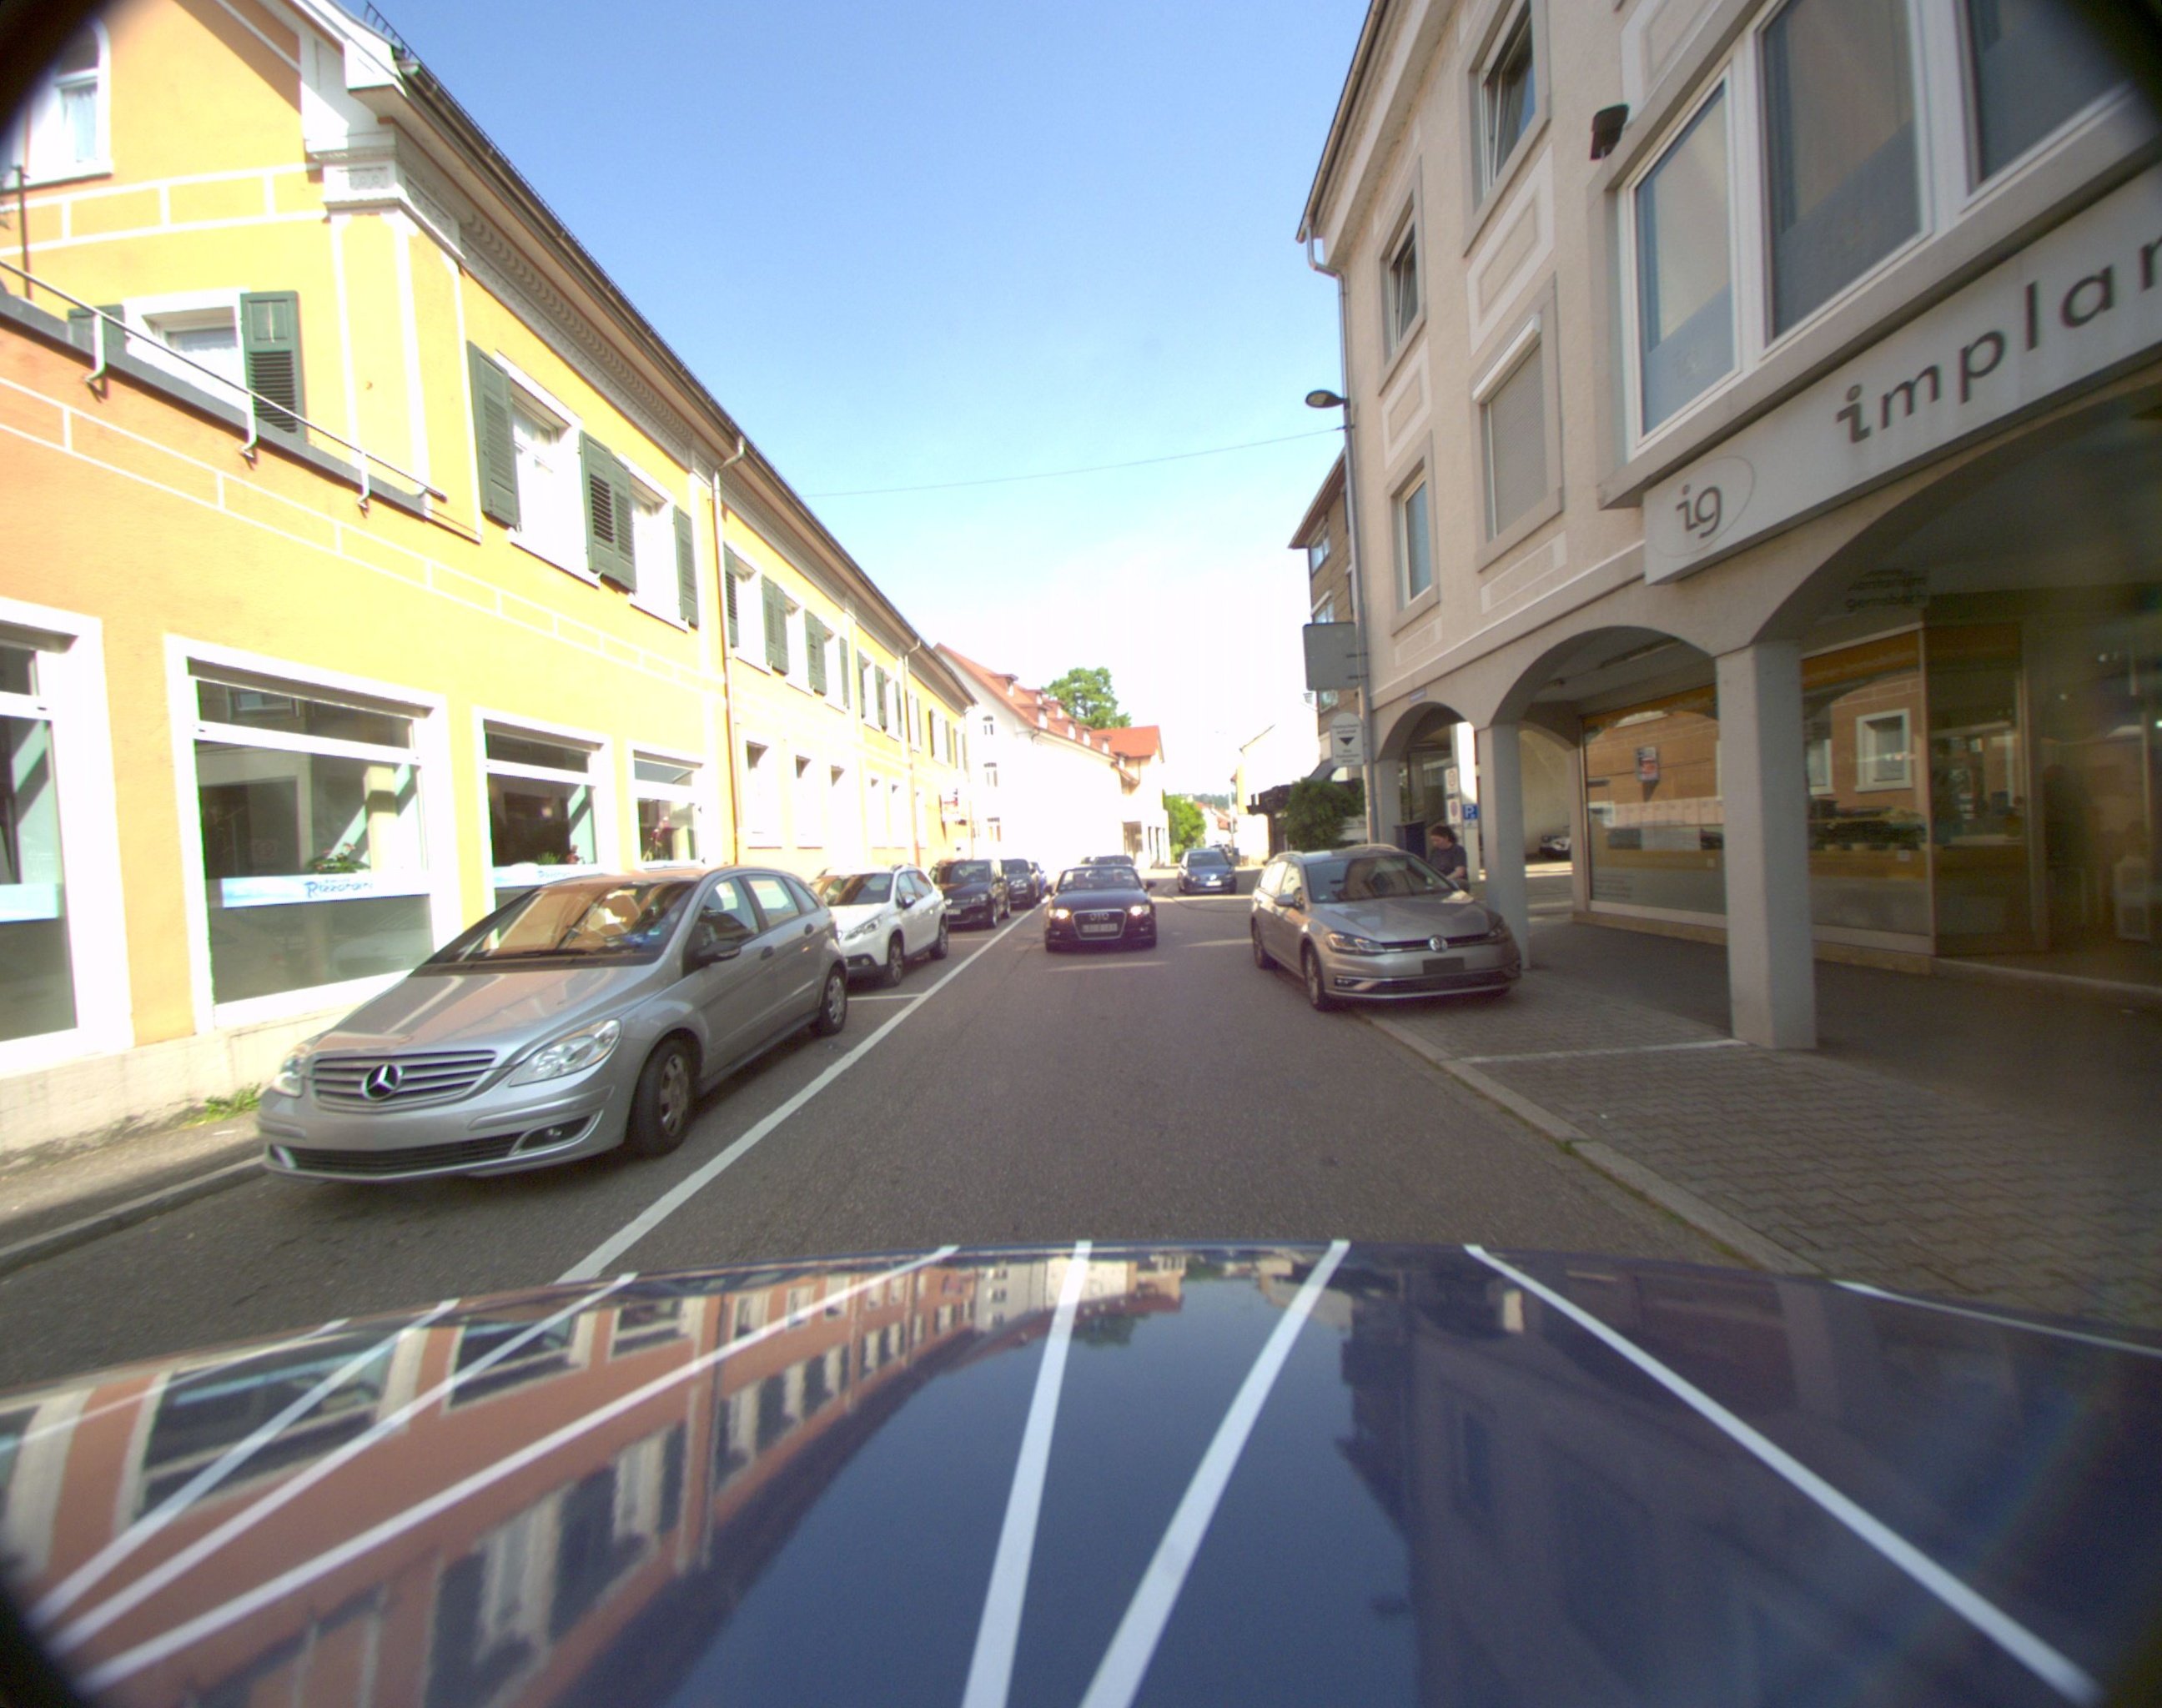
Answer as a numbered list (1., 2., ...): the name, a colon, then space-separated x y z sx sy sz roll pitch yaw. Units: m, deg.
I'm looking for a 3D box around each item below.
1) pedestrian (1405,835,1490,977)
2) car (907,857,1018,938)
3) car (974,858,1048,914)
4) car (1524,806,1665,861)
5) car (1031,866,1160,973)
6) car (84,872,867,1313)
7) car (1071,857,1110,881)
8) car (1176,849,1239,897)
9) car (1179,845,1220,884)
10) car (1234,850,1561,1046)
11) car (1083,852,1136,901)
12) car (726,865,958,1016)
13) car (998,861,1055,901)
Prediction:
1. pedestrian: 4.184 0.574 8.704 0.622 1.542 0.534 -4 1 0
2. car: -2.671 0.925 18.085 1.682 1.636 4.252 -2 0 3
3. car: -2.106 0.940 24.010 1.682 1.531 4.187 -2 0 3
4. car: 16.185 -0.625 24.097 3.255 1.477 1.695 -4 0 8
5. car: 0.322 0.943 12.654 1.754 1.348 4.200 -2 0 3
6. car: -3.124 1.036 5.403 1.749 1.587 4.594 -4 0 1
7. car: 0.626 0.847 44.831 1.526 1.237 4.037 -3 0 12
8. car: 4.479 0.626 27.445 1.769 1.551 3.972 -3 0 3
9. car: 5.709 0.453 36.199 1.681 1.658 3.974 -3 0 11
10. car: 2.972 0.750 8.294 1.807 1.461 4.455 -4 0 3
11. car: 1.070 0.748 27.239 1.682 1.551 3.972 -3 0 3
12. car: -3.066 1.020 10.716 1.682 1.549 4.104 -4 0 3
13. car: -2.041 1.009 29.609 1.682 1.311 3.696 -4 0 3
